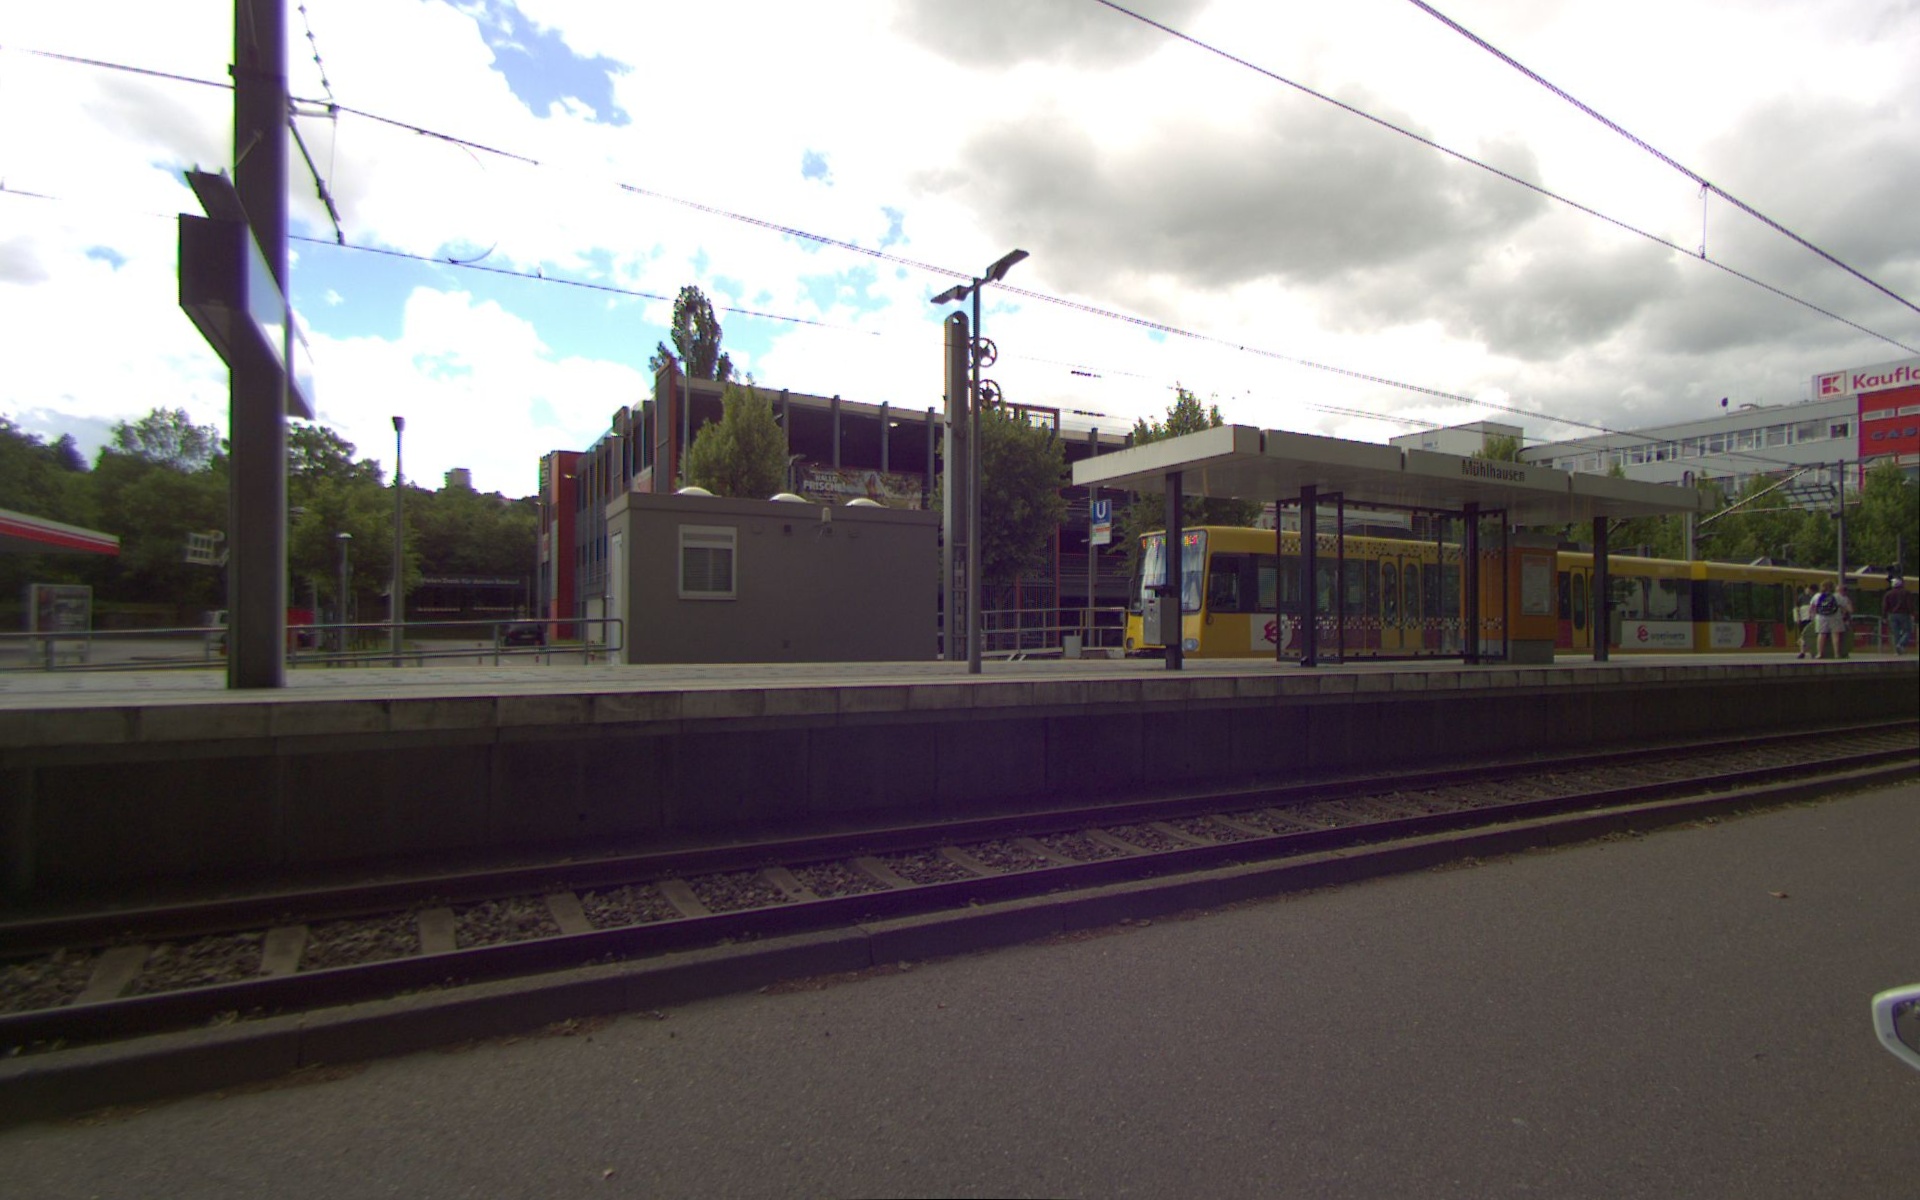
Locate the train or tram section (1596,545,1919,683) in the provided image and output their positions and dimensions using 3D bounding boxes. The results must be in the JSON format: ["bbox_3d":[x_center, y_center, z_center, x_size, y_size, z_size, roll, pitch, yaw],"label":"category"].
[{"bbox_3d":[28.133,0.729,33.814,18.402,3.878,2.746,2,-4,-29],"label":"train or tram section"}]

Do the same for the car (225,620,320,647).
[{"bbox_3d":[-36.540,1.793,53.523,4.012,1.383,1.900,2,-3,-31],"label":"car"}]

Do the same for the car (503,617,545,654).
[{"bbox_3d":[-21.199,1.690,48.756,1.625,1.728,3.786,1,-2,-27],"label":"car"}]

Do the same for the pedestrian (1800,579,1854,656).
[{"bbox_3d":[17.018,0.355,19.735,0.570,1.502,0.521,0,-2,8],"label":"pedestrian"}]

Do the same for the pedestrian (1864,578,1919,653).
[{"bbox_3d":[21.659,0.376,23.310,0.781,1.700,0.768,1,-3,-30],"label":"pedestrian"}]

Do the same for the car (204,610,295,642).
[{"bbox_3d":[-40.345,1.512,57.156,4.013,1.775,1.900,2,-3,-31],"label":"car"}]

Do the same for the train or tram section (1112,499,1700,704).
[{"bbox_3d":[11.992,0.267,24.925,18.402,3.933,2.745,1,-3,-29],"label":"train or tram section"}]

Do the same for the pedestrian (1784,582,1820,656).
[{"bbox_3d":[17.383,0.408,20.736,0.539,1.502,0.470,2,-3,-44],"label":"pedestrian"}]

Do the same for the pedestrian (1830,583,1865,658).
[{"bbox_3d":[17.911,0.410,20.272,0.632,1.484,0.359,1,-1,-31],"label":"pedestrian"}]
